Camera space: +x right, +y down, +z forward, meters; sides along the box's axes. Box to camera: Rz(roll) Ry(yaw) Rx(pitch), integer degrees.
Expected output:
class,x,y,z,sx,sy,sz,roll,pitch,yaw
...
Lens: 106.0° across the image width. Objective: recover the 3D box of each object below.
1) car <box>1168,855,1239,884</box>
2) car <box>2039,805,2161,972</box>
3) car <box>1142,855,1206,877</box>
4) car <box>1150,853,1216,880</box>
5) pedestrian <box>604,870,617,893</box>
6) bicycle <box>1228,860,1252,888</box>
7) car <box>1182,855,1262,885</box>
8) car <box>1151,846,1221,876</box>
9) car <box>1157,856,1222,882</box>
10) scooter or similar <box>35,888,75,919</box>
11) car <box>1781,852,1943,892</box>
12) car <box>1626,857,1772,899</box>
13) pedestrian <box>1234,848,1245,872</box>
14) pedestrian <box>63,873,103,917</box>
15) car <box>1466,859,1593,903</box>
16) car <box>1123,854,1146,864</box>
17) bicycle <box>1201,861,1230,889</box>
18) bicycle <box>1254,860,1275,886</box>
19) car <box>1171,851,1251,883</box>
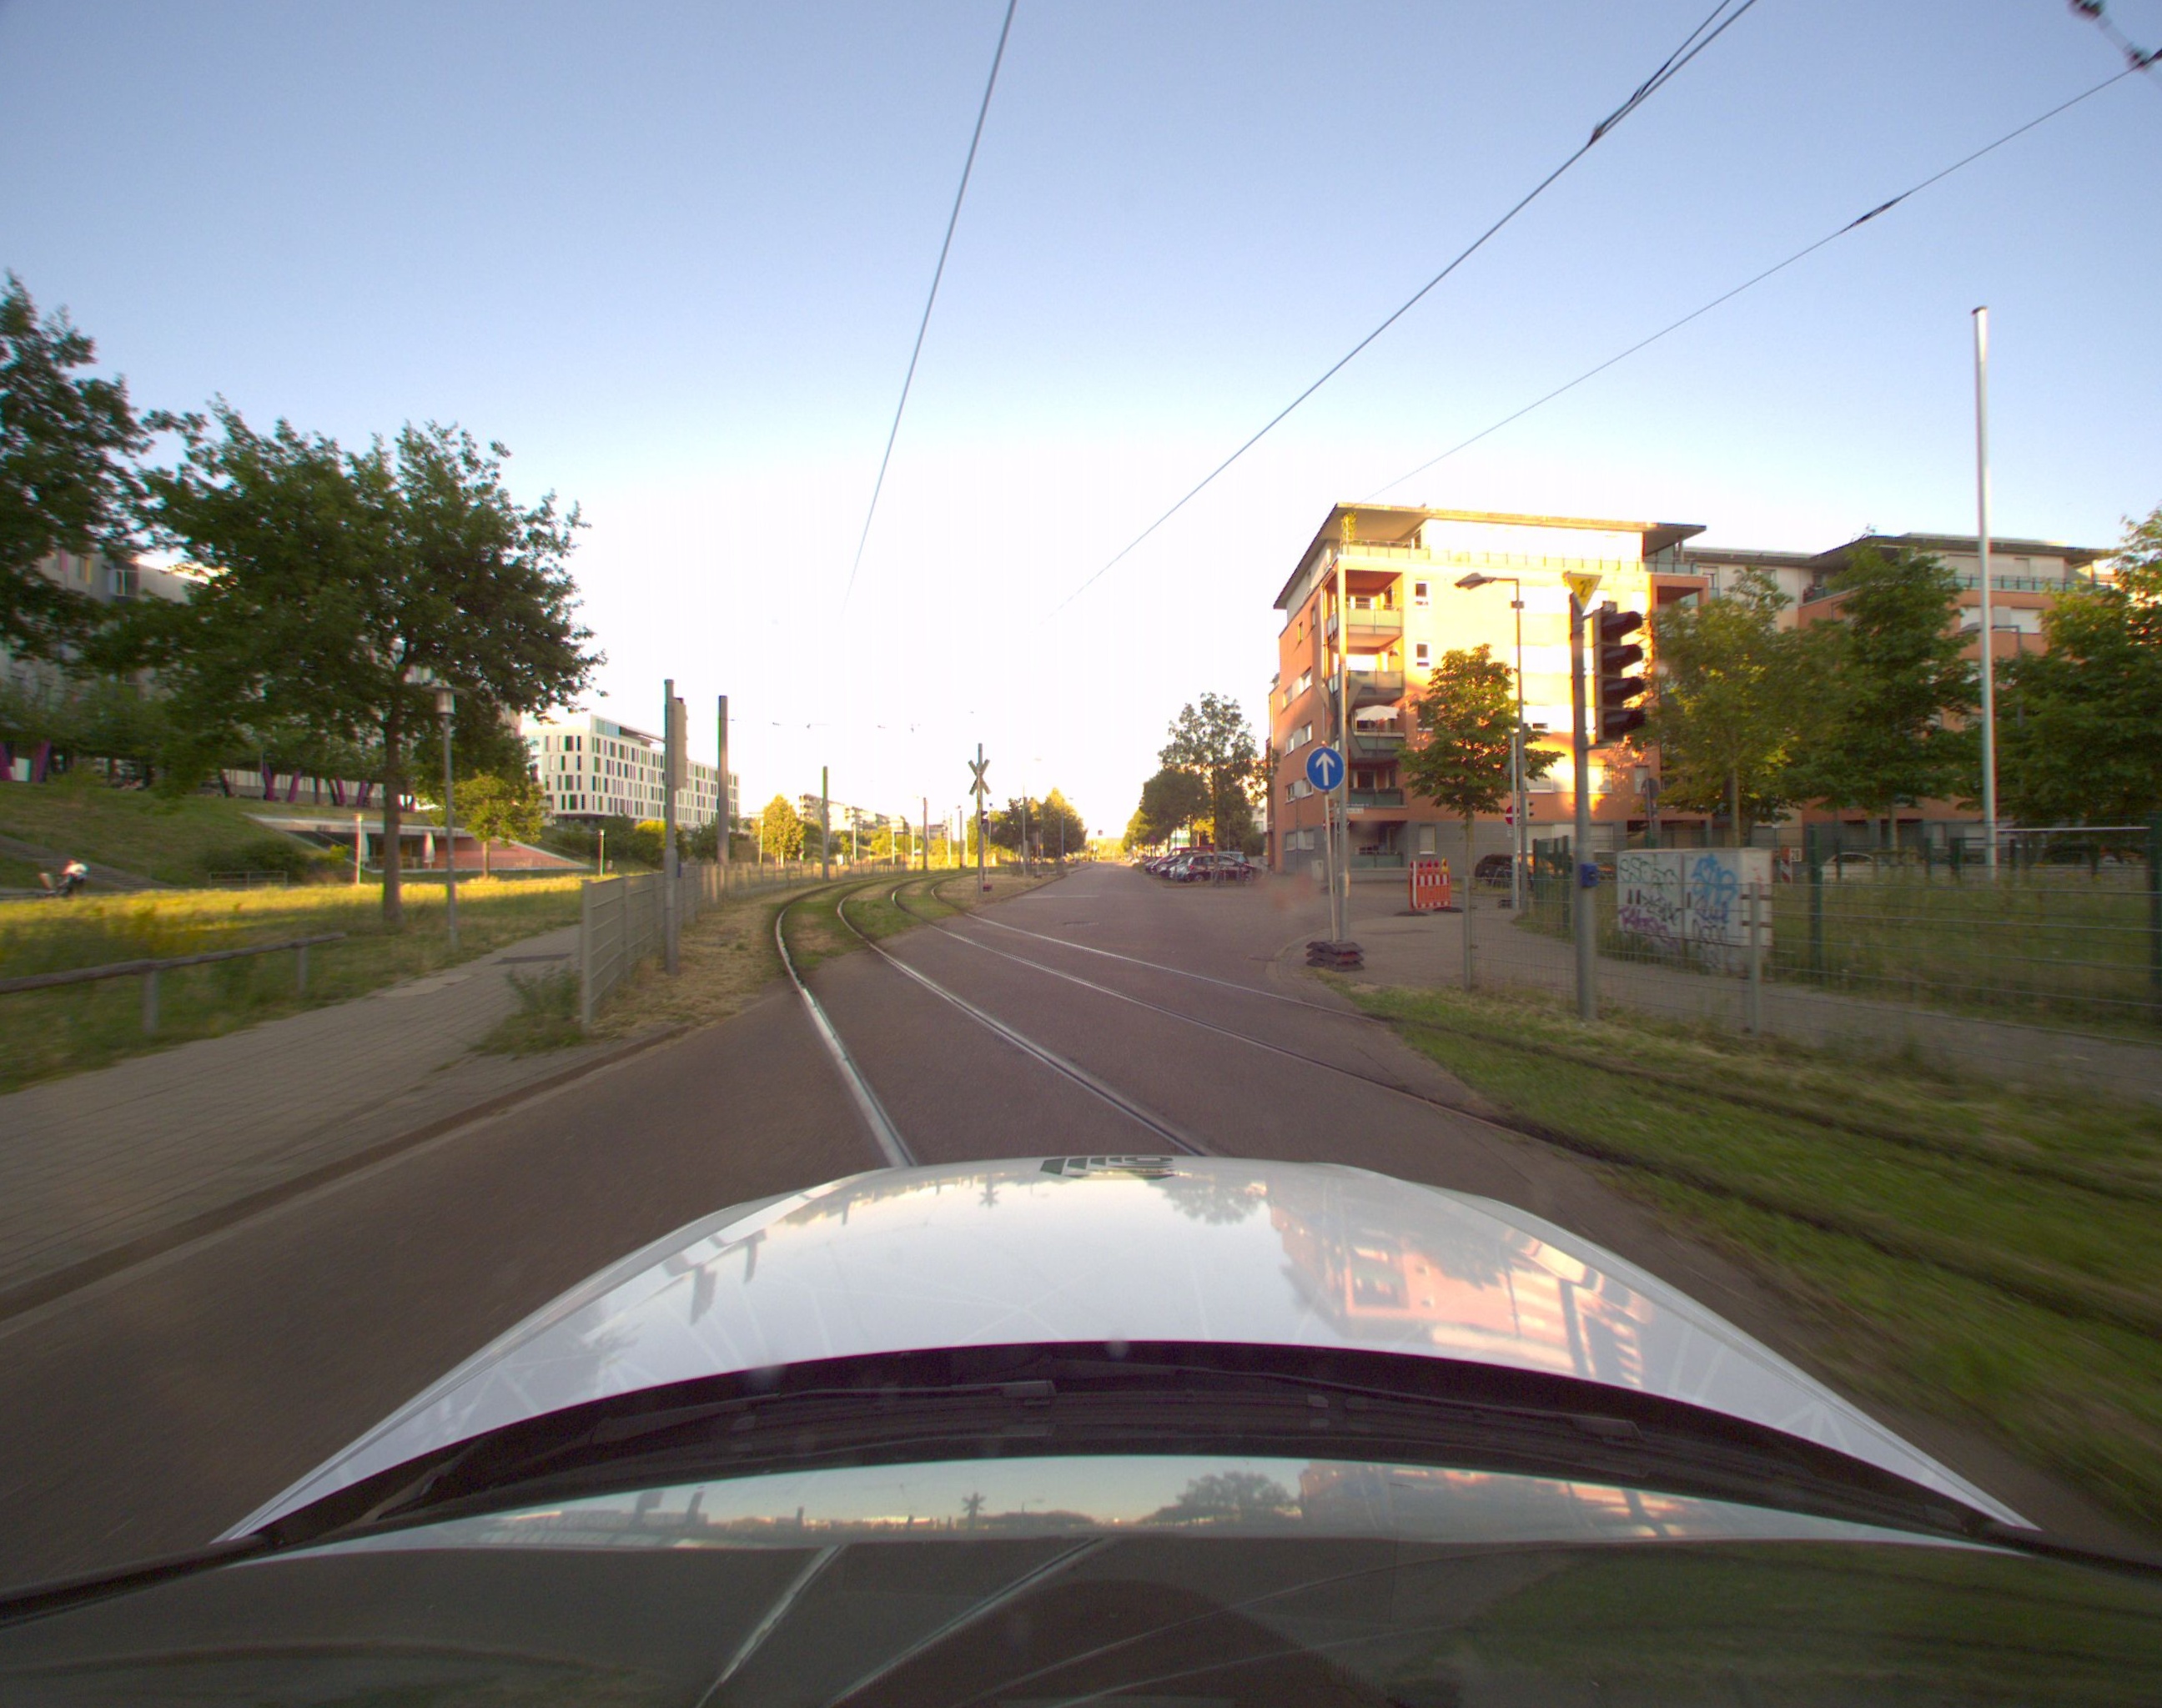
class,x,y,z,sx,sy,sz,roll,pitch,yaw
car,6.966,0.885,46.711,3.861,1.569,1.621,-1,-1,2
car,13.953,0.399,9.028,1.986,2.014,4.001,-1,-1,1
car,7.046,0.893,61.987,4.651,1.557,1.812,-1,-1,2
car,6.712,0.839,53.867,4.199,1.569,1.793,-3,-1,2
pedestrian,-42.115,2.449,72.920,0.614,2.082,0.790,1,-1,1
bicycle,7.201,0.891,36.969,0.676,1.152,1.928,-3,1,0
car,7.166,0.785,41.552,3.740,1.473,1.612,0,-1,-3
car,7.551,0.506,59.190,4.899,2.117,2.018,-1,-1,3
car,6.524,0.948,49.337,3.759,1.496,1.539,-1,-3,1
scooter or similar,-42.239,2.023,33.535,0.614,1.244,0.790,1,-1,1
car,33.324,0.748,34.970,1.993,1.594,4.799,-1,-1,-9
car,25.198,0.944,33.470,1.991,1.594,4.803,-1,-1,-7
pedestrian,11.734,0.421,60.396,0.666,1.743,0.699,-1,-1,2
pedestrian,-42.285,1.739,34.508,0.614,1.836,0.790,1,-1,1
car,17.559,1.005,32.177,1.991,1.594,4.803,0,-1,-7
car,12.187,1.123,186.183,4.991,2.045,2.248,-1,-1,-3
bicycle,6.132,0.930,37.169,0.716,1.152,1.893,-2,1,-8
bicycle,8.434,0.851,37.461,0.527,1.126,1.963,1,1,0
car,6.949,0.687,43.911,4.034,1.569,1.674,-2,-1,2
